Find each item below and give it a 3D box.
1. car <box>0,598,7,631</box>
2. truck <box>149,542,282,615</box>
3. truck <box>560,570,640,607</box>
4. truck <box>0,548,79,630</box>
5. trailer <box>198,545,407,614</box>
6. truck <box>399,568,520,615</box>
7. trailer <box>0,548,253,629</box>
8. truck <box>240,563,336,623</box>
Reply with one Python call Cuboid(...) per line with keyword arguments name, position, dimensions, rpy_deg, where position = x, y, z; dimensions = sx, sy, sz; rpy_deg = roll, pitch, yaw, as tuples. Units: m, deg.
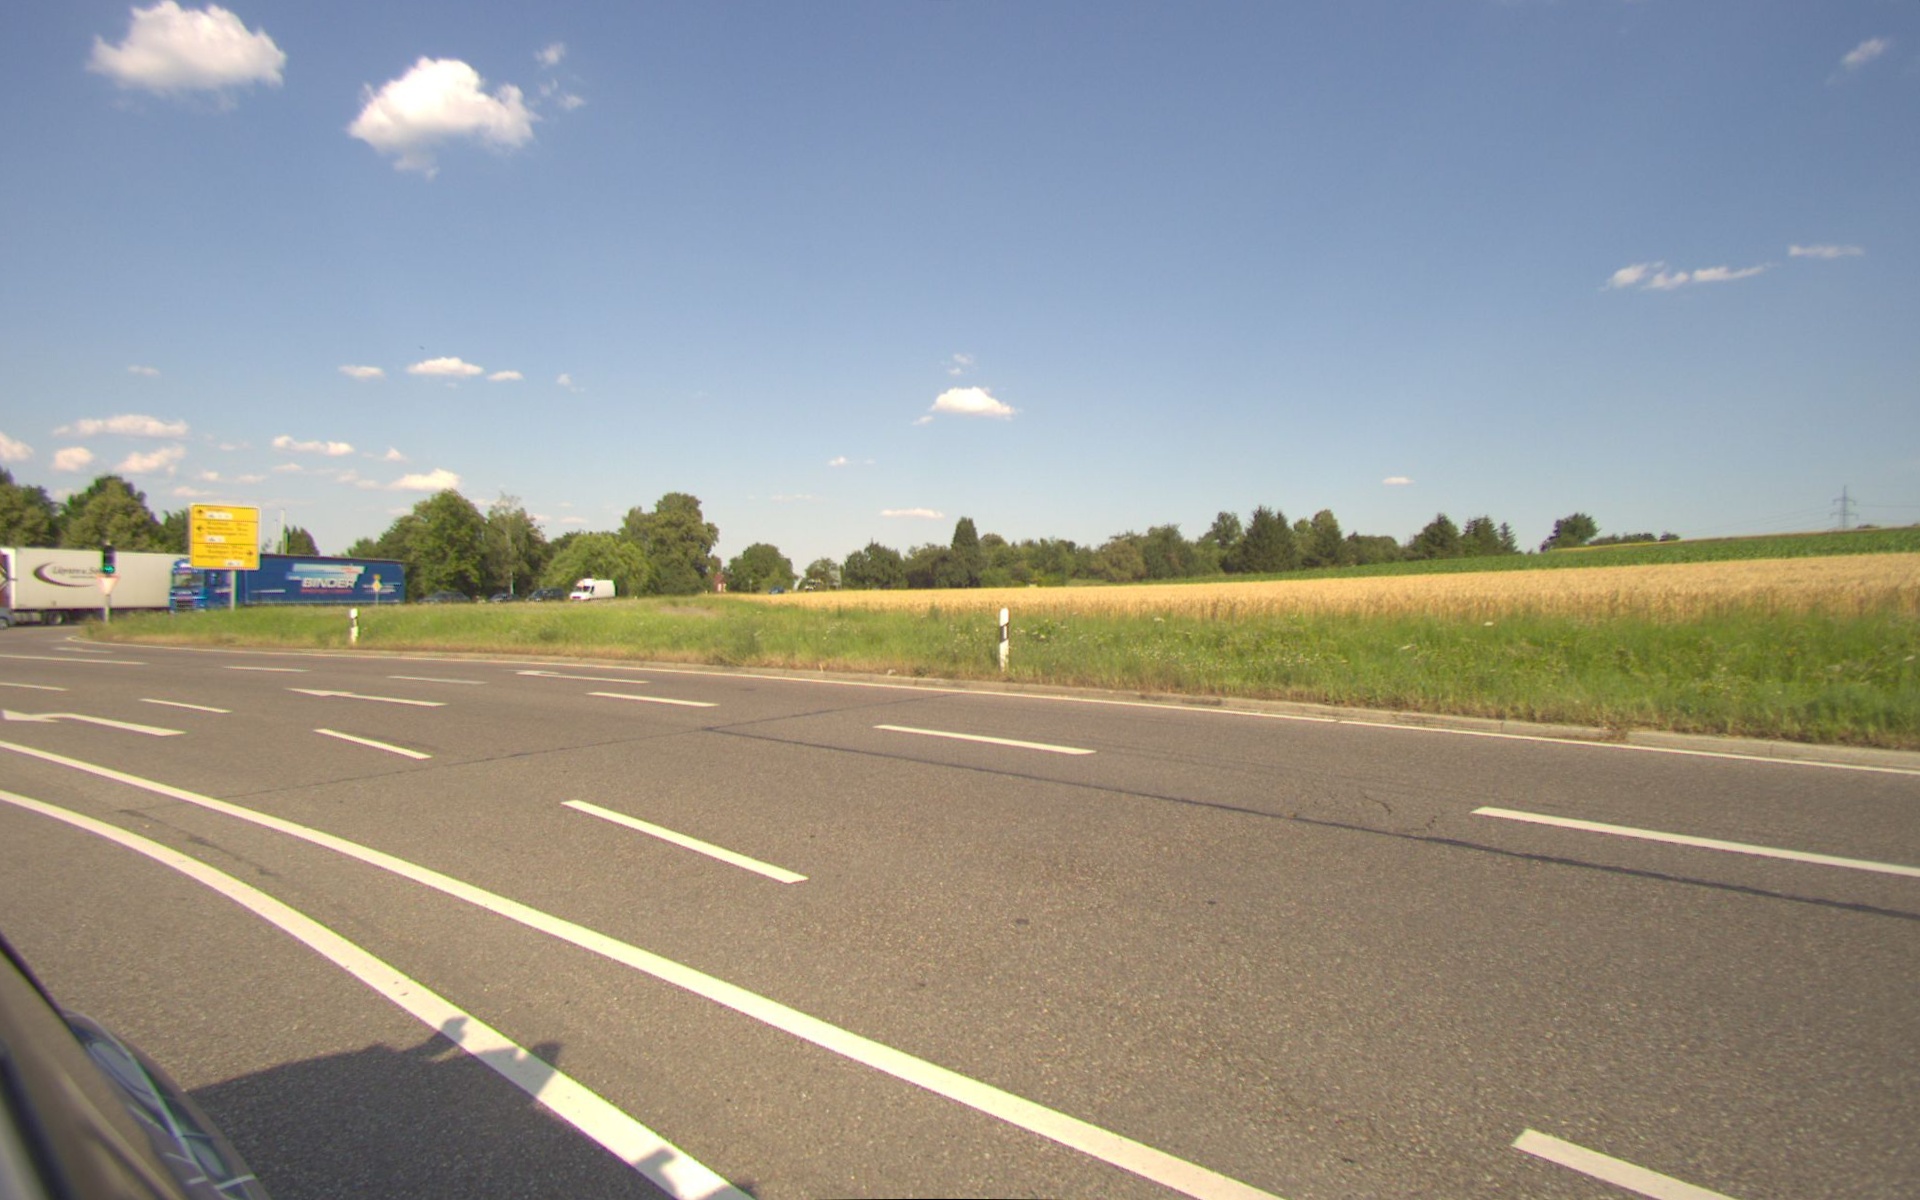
Cuboid(name="car", position=(-45.634, 0.764, 45.262), dimensions=(1.977, 1.497, 3.991), rpy_deg=(-1, 2, 8))
Cuboid(name="truck", position=(-43.833, -1.219, 59.831), dimensions=(3.337, 4.035, 5.587), rpy_deg=(-1, 0, 8))
Cuboid(name="truck", position=(-39.863, -1.274, 112.680), dimensions=(2.502, 3.802, 12.864), rpy_deg=(-1, 0, 9))
Cuboid(name="truck", position=(-48.873, -0.542, 50.992), dimensions=(2.511, 4.074, 6.643), rpy_deg=(-1, 0, 9))
Cuboid(name="trailer", position=(-42.832, -1.301, 66.953), dimensions=(3.379, 4.035, 13.716), rpy_deg=(-1, 0, 8))
Cuboid(name="truck", position=(-43.360, -0.760, 88.432), dimensions=(2.502, 3.802, 12.864), rpy_deg=(-1, 0, 9))
Cuboid(name="trailer", position=(-47.803, -0.587, 58.239), dimensions=(2.511, 4.097, 14.298), rpy_deg=(-1, 0, 8))
Cuboid(name="truck", position=(-45.758, -0.479, 69.083), dimensions=(2.237, 3.833, 5.672), rpy_deg=(-1, 0, 8))
